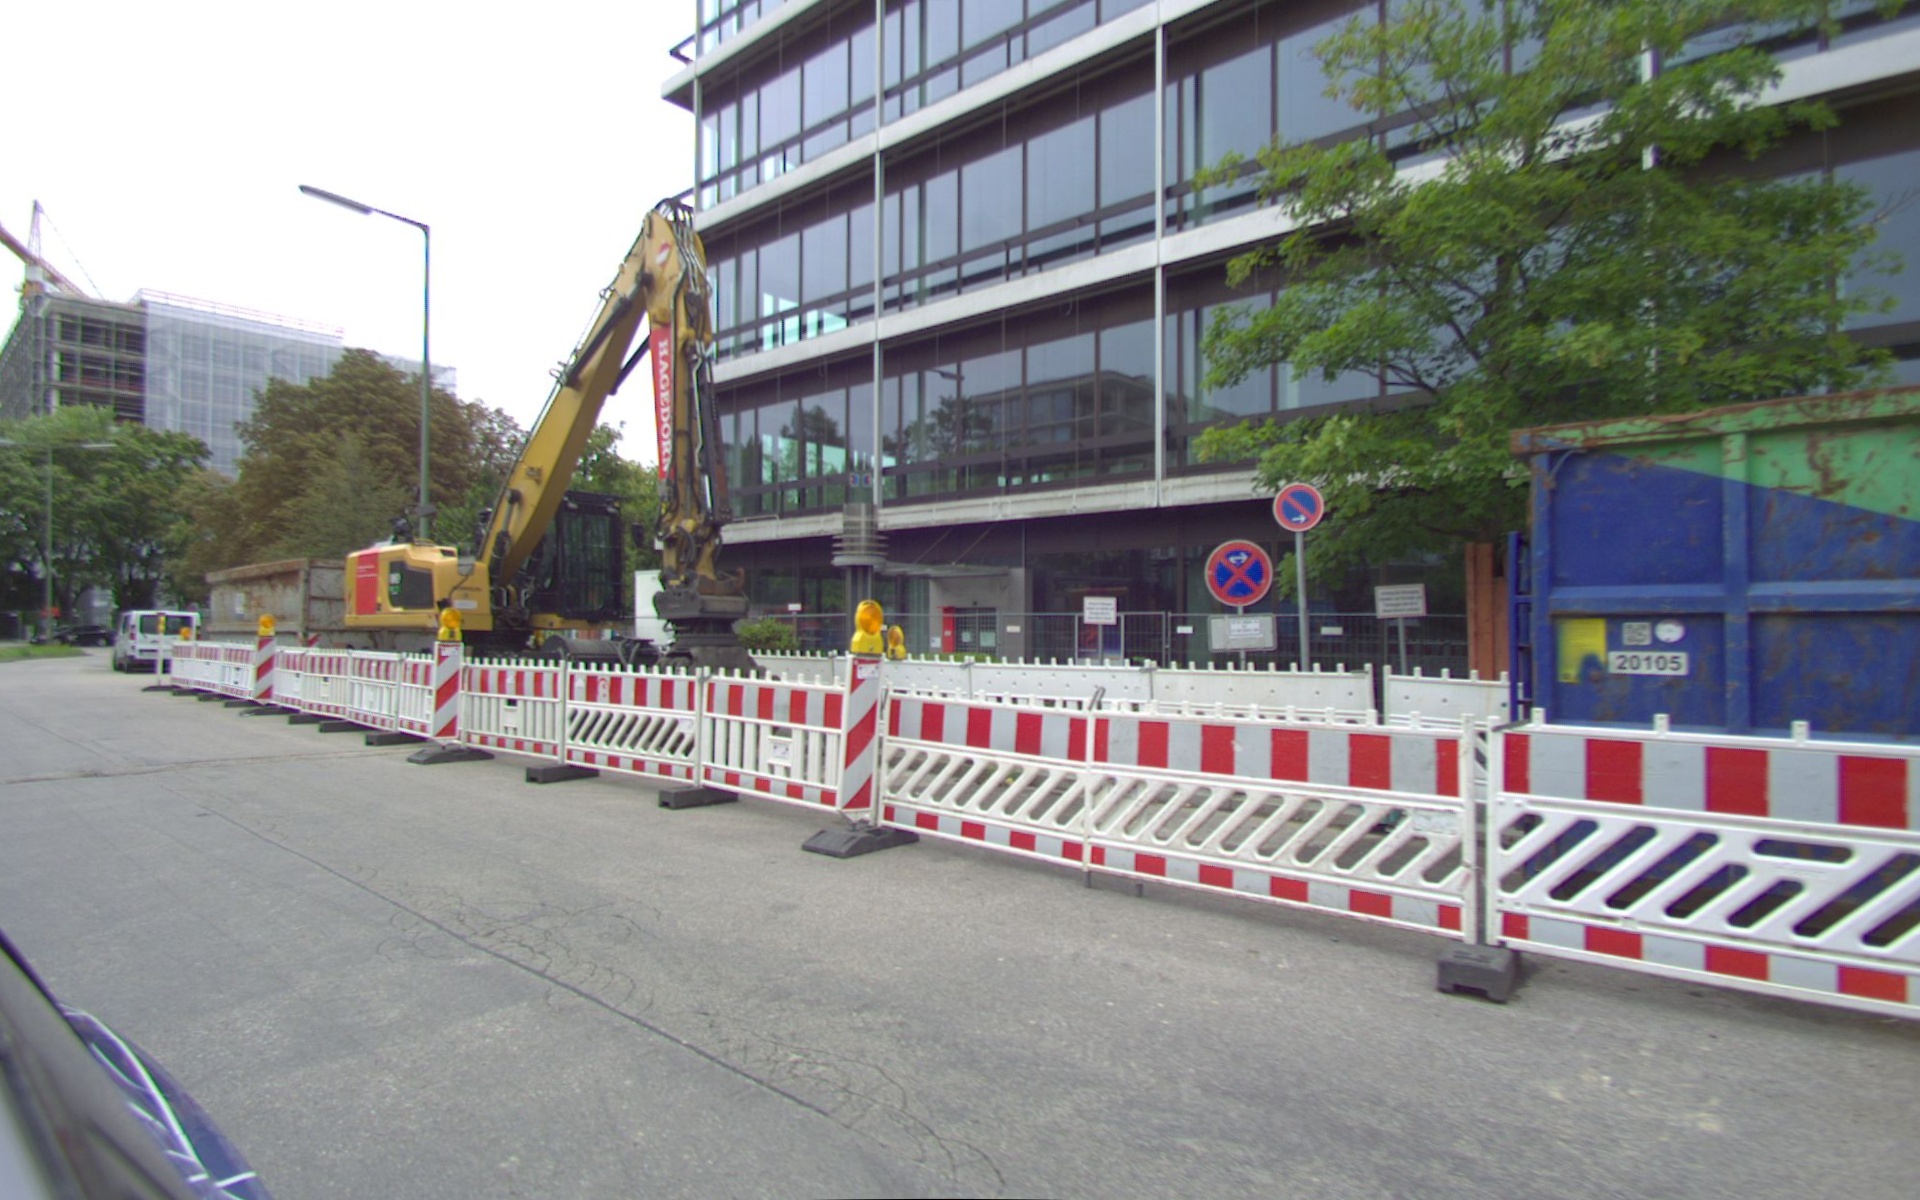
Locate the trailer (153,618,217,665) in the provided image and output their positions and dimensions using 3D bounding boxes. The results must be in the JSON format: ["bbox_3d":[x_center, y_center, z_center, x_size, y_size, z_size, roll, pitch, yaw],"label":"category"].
[{"bbox_3d":[-38.491,2.070,50.311,1.752,2.198,2.785,3,-3,-22],"label":"trailer"}]

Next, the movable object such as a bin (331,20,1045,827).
[{"bbox_3d":[-4.493,-1.355,13.213,11.778,6.614,2.874,-1,-3,41],"label":"movable object such as a bin"}]

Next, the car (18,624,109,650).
[{"bbox_3d":[-56.169,2.323,63.511,1.776,1.584,3.862,1,-2,19],"label":"car"}]

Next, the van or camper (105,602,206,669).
[{"bbox_3d":[-26.849,1.212,33.701,1.966,2.050,5.589,4,-5,-44],"label":"van or camper"}]

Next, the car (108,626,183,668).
[{"bbox_3d":[-31.167,1.780,38.676,1.969,1.470,4.125,5,-5,-41],"label":"car"}]

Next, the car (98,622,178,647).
[{"bbox_3d":[-55.115,2.321,67.946,1.773,1.584,3.869,1,-2,14],"label":"car"}]

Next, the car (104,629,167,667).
[{"bbox_3d":[-34.415,1.998,42.341,1.714,1.470,4.040,4,-4,-36],"label":"car"}]
